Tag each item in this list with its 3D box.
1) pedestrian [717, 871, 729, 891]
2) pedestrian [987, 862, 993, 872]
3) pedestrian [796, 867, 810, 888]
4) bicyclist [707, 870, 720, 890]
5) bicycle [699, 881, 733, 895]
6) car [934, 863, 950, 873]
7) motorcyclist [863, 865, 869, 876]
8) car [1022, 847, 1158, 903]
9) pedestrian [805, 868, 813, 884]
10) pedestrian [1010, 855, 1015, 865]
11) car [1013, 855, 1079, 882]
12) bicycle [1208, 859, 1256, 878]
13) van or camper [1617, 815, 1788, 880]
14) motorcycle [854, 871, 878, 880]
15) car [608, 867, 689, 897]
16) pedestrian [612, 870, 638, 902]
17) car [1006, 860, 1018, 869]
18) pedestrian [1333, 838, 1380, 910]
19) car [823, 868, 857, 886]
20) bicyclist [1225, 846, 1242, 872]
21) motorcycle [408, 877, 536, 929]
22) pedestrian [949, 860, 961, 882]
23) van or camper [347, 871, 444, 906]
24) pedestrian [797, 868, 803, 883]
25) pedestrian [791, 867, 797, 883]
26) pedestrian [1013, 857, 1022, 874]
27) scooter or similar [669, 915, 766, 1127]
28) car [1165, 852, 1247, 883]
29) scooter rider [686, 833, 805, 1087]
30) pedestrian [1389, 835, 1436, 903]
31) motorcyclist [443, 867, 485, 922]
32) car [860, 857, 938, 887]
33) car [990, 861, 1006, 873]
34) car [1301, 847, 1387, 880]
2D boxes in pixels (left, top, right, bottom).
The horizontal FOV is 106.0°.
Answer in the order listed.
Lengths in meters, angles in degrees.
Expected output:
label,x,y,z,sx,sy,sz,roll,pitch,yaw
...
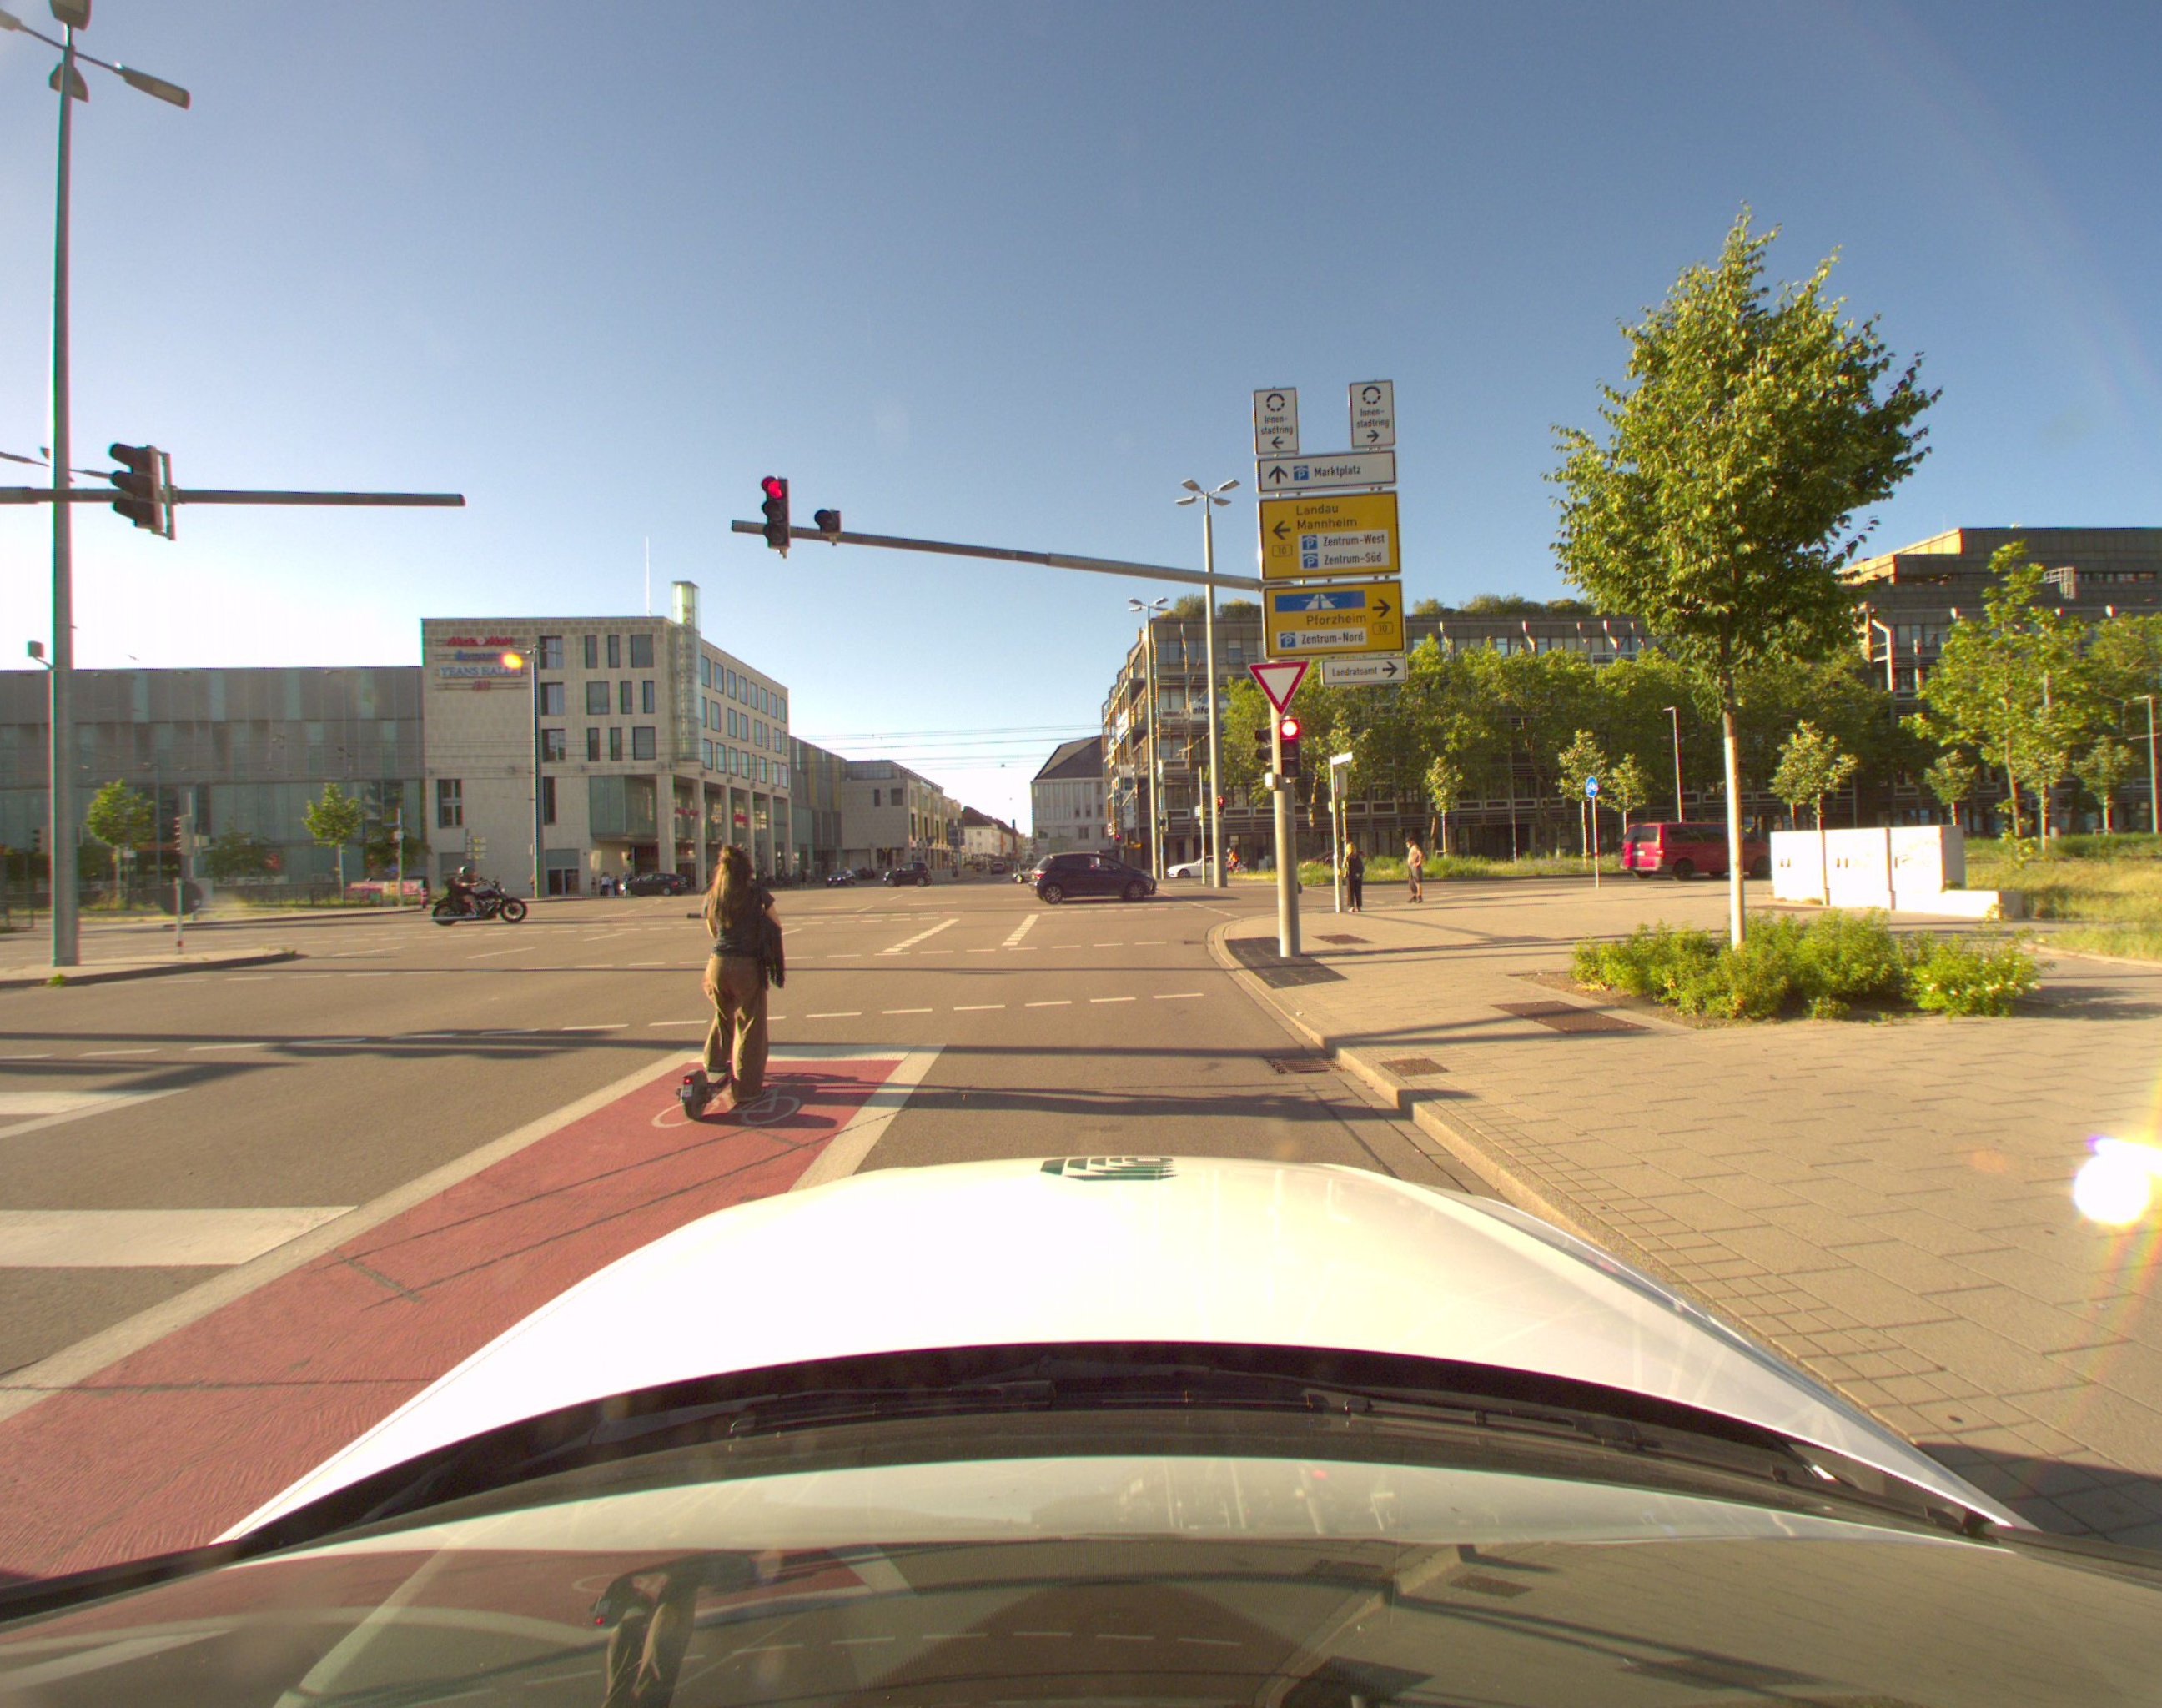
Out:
label,x,y,z,sx,sy,sz,roll,pitch,yaw
pedestrian,-29.989,2.256,68.223,0.590,1.646,0.629,-2,0,1
pedestrian,-18.462,2.569,165.146,0.907,1.964,0.823,-2,0,1
pedestrian,-21.745,1.847,63.758,0.772,1.638,0.627,-2,0,8
bicyclist,-27.359,1.968,60.647,0.620,1.448,0.592,-2,0,32
bicycle,-27.264,2.509,60.869,0.629,0.903,2.232,-2,0,37
car,-20.889,2.096,122.188,1.652,1.458,3.543,-2,0,2
motorcyclist,-26.124,2.011,99.020,0.627,1.406,0.661,0,-1,-7
car,0.241,0.613,24.972,3.863,1.510,1.665,-2,0,-12
pedestrian,-29.671,2.442,88.977,0.465,1.729,0.699,-1,-1,40
pedestrian,-13.905,1.198,165.261,0.907,1.965,0.823,0,-1,1
car,-2.359,0.990,55.116,3.951,1.684,1.835,-2,0,23
bicycle,8.688,0.821,47.055,2.561,0.975,1.047,-2,0,-1
van or camper,21.427,-0.239,28.143,4.830,2.013,1.999,-2,0,-12
motorcycle,-26.097,2.624,98.812,2.600,0.993,1.113,0,-1,-8
car,-26.667,1.725,50.298,3.973,1.684,1.761,-2,0,0
pedestrian,-25.133,1.766,44.908,0.821,1.675,1.004,-2,0,-2
car,-12.318,1.847,146.226,1.652,1.458,3.543,-2,0,2
pedestrian,6.366,0.452,18.860,0.763,1.614,0.874,-2,0,0
car,-20.838,1.947,70.512,1.670,1.357,4.021,-2,0,1
bicyclist,8.827,0.308,47.071,0.820,1.474,0.652,-2,0,-2
motorcycle,-16.274,1.286,21.829,2.599,1.208,0.726,-2,1,-16
pedestrian,-9.853,1.316,63.727,0.697,1.688,0.620,-2,0,2
van or camper,-44.225,2.228,52.581,4.404,2.013,1.993,-2,0,-3
pedestrian,-31.605,2.438,91.535,0.465,1.683,0.524,-1,-1,40
pedestrian,-32.194,2.331,91.422,0.465,1.729,0.524,-1,-1,40
pedestrian,-7.133,1.294,91.644,0.896,1.782,0.809,-2,0,1
scooter or similar,-2.189,0.962,4.968,0.306,1.107,0.835,-2,0,-9
car,7.781,0.831,50.958,4.829,1.684,1.825,-2,0,-1
scooter rider,-2.129,0.644,5.207,0.552,1.530,0.448,-2,0,-7
pedestrian,8.557,0.377,21.048,0.869,1.706,0.768,-2,0,0
motorcyclist,-16.500,1.069,21.792,0.658,1.423,0.645,-2,1,-15
car,-11.214,1.105,50.401,4.392,1.684,1.824,-2,0,-2
car,-11.017,1.755,108.527,1.652,1.458,3.543,-2,0,2
car,14.905,0.518,46.273,4.287,1.684,1.820,-2,0,-9
